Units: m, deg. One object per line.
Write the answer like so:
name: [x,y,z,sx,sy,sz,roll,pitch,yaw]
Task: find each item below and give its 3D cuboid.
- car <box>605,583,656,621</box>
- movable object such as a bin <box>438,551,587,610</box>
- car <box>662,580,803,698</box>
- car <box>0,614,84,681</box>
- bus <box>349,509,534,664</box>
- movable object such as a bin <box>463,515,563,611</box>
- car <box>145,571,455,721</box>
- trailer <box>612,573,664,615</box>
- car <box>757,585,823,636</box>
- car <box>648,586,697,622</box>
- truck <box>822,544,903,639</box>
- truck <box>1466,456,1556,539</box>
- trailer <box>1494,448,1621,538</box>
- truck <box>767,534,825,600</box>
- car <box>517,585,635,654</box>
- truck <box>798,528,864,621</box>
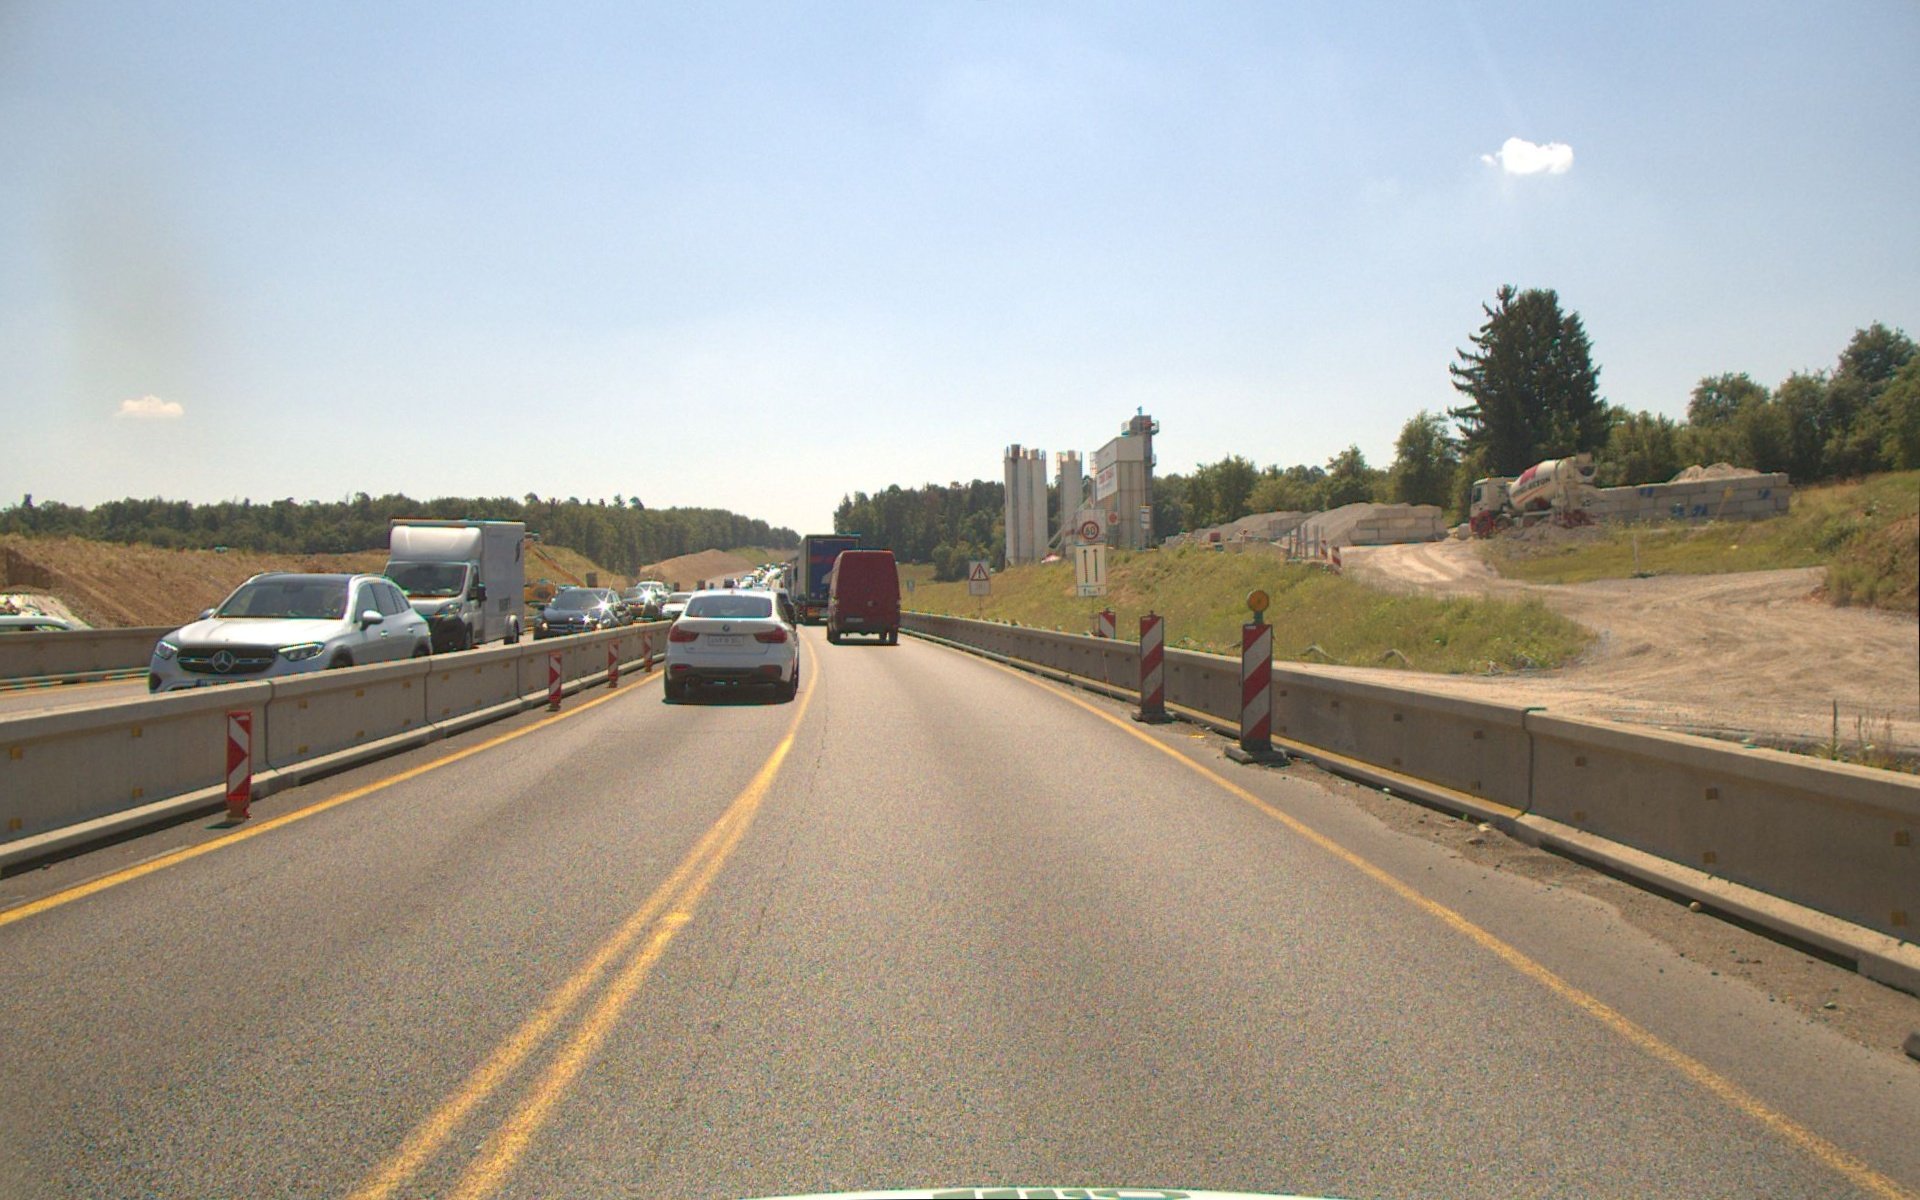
car: [-15.350,0.073,77.259,1.886,1.708,4.711,0,0,-6]
movable object such as a bin: [-58.325,-2.539,216.179,18.364,7.357,3.609,-1,0,-9]
car: [-3.258,0.507,24.509,1.760,1.561,5.068,0,0,-4]
car: [-21.969,1.091,38.030,3.160,1.481,1.531,-1,0,-32]
bus: [-11.688,-0.317,37.946,2.302,3.180,7.224,-1,0,-3]
movable object such as a bin: [-37.638,-3.096,139.480,7.489,7.848,3.442,-1,0,-5]
car: [-7.446,0.450,19.226,1.759,1.501,4.776,-1,0,-1]
trailer: [-16.034,-0.333,82.671,2.090,2.016,5.228,0,1,-6]
car: [-5.415,0.313,53.042,1.758,1.561,3.930,-1,0,-1]
car: [-12.453,0.152,71.808,1.781,1.481,4.629,-1,0,-6]
truck: [-3.043,-0.264,50.355,2.071,2.679,6.474,-1,0,-7]
truck: [29.218,-5.379,87.860,2.700,4.167,4.083,-1,0,-15]
trailer: [30.219,-5.353,83.994,2.711,4.186,6.718,-1,0,-15]
truck: [-12.333,-2.434,125.398,3.609,4.773,9.749,-1,0,-2]
car: [-8.634,0.402,37.522,1.772,1.439,4.397,-1,0,-2]
truck: [-6.356,-1.206,80.366,2.957,4.225,8.262,-1,0,-6]
